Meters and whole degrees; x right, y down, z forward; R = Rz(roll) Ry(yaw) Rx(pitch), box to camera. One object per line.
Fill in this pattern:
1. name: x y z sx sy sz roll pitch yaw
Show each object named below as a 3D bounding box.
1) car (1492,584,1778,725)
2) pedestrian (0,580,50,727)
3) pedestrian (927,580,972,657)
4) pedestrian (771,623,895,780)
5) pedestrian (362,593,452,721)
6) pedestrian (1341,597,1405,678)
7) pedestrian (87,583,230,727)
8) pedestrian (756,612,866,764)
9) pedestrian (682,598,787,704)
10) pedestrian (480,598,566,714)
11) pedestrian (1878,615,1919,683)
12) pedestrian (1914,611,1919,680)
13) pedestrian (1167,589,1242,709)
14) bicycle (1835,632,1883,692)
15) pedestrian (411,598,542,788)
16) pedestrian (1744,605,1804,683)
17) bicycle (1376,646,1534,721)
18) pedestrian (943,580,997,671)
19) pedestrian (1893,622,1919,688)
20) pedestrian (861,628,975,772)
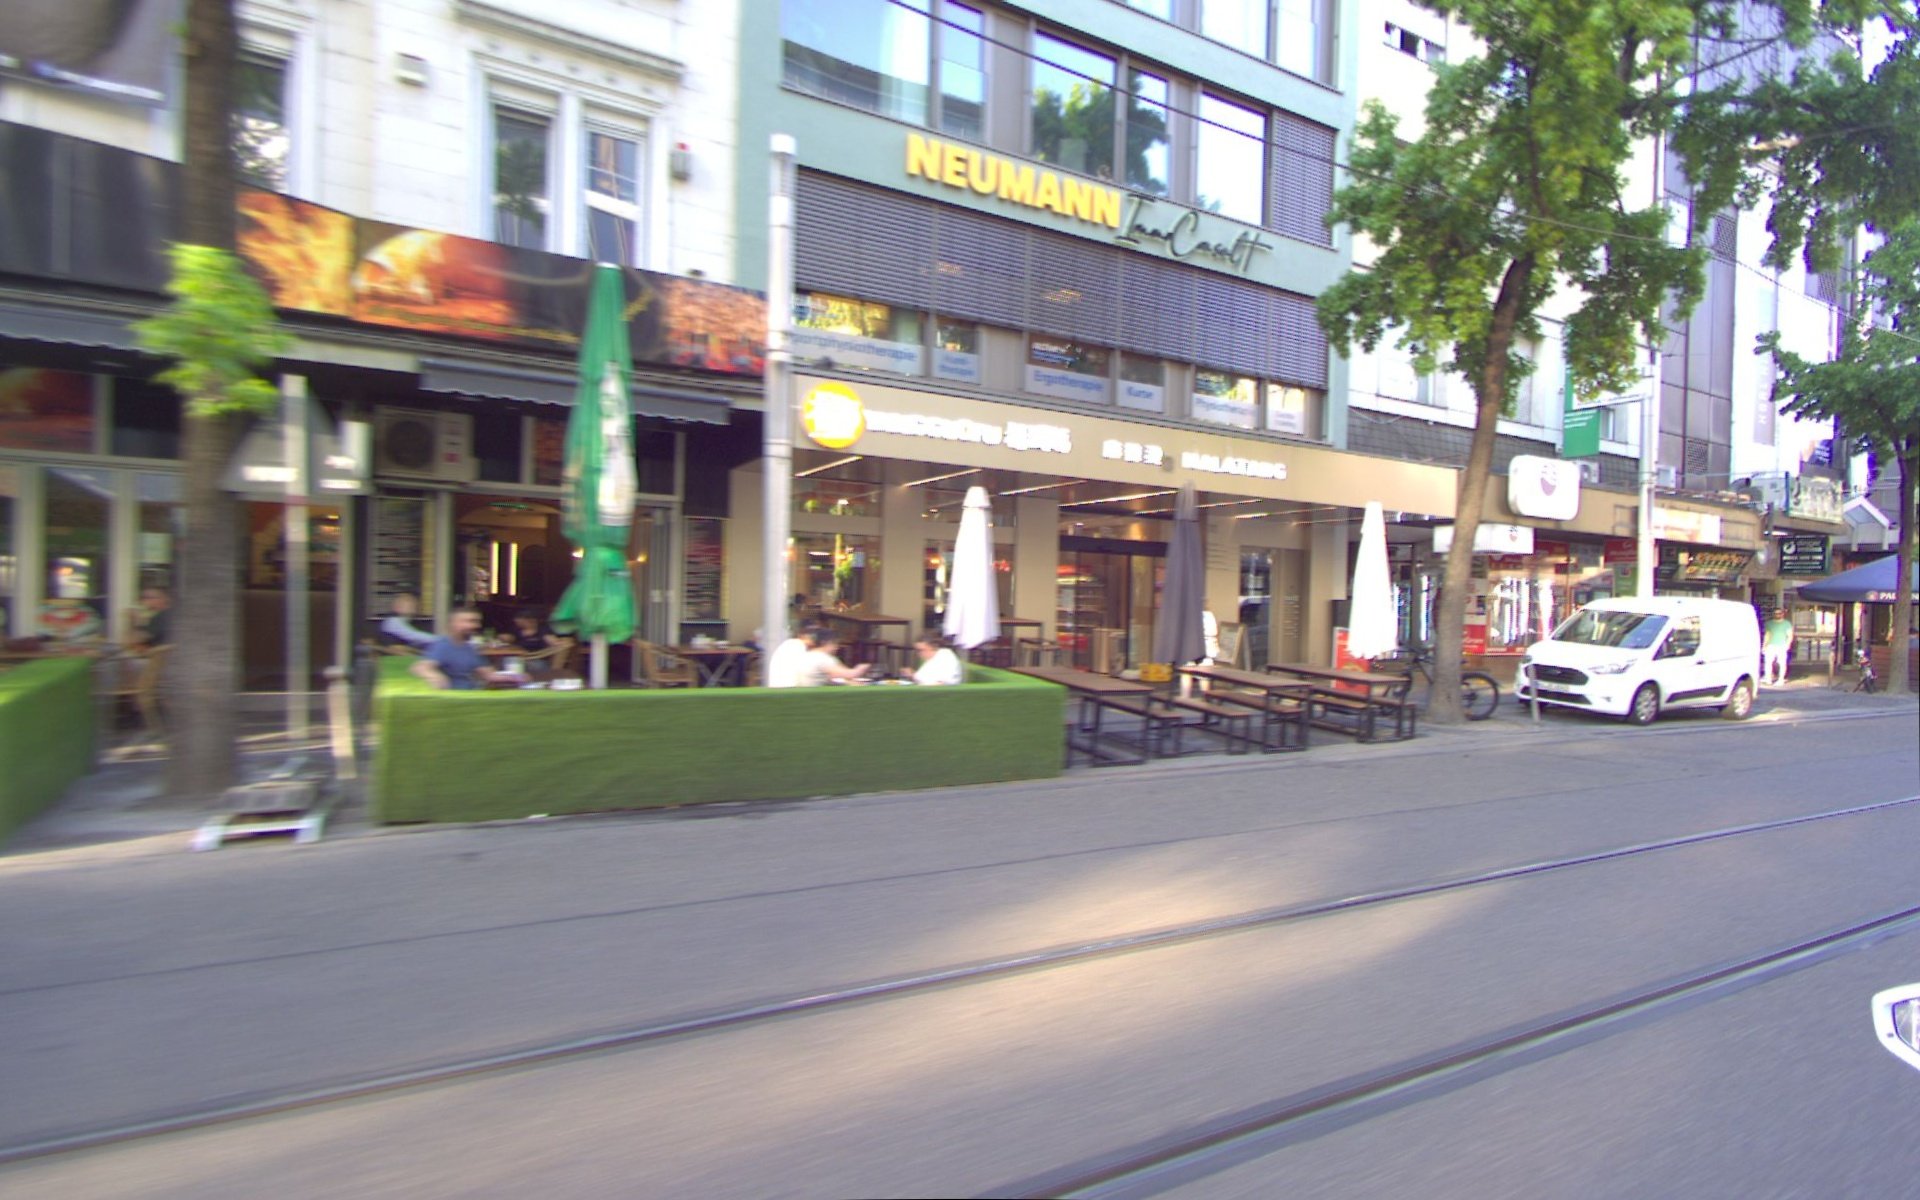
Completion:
1. car: 10.654 0.796 15.804 4.497 1.890 1.788 1 3 -29
2. pedestrian: -8.746 0.462 8.956 0.779 1.248 0.733 1 3 -30
3. pedestrian: -0.235 0.398 21.887 0.697 1.626 0.695 1 3 -28
4. pedestrian: -1.125 0.860 8.855 0.862 1.261 0.653 1 3 -30
5. pedestrian: -5.776 0.577 10.504 0.779 1.230 0.733 1 3 -30
6. pedestrian: 7.934 0.711 19.317 0.756 1.486 0.765 1 3 -32
7. pedestrian: -7.577 0.497 9.544 0.934 1.254 0.773 1 3 -30
8. pedestrian: -1.408 0.798 9.442 0.788 1.310 0.653 1 3 -30
9. pedestrian: -2.775 0.613 12.352 1.052 1.204 0.749 1 3 -30
10. pedestrian: -4.847 0.602 11.130 0.779 1.184 0.696 1 3 -30
11. pedestrian: 23.146 1.189 24.652 0.711 1.628 0.670 1 1 -30
12. pedestrian: 24.774 1.164 25.411 0.667 1.748 0.714 1 1 -30
13. pedestrian: 3.400 0.673 13.993 0.692 1.595 0.644 1 3 -30
14. bicycle: 19.718 1.331 22.018 0.690 1.136 2.074 5 3 43
15. pedestrian: -3.826 0.697 7.932 0.862 1.361 0.750 1 3 -30
16. pedestrian: 18.407 0.982 22.705 0.993 1.708 0.663 1 2 -30
17. bicycle: 7.071 1.181 14.440 1.822 0.876 0.837 3 2 9
18. pedestrian: 0.189 0.481 19.226 0.724 1.673 0.695 1 3 -28
19. pedestrian: 21.700 1.251 22.831 0.576 1.448 0.547 1 1 -30
20. pedestrian: -0.389 0.888 9.211 0.788 1.209 0.653 1 3 -30
